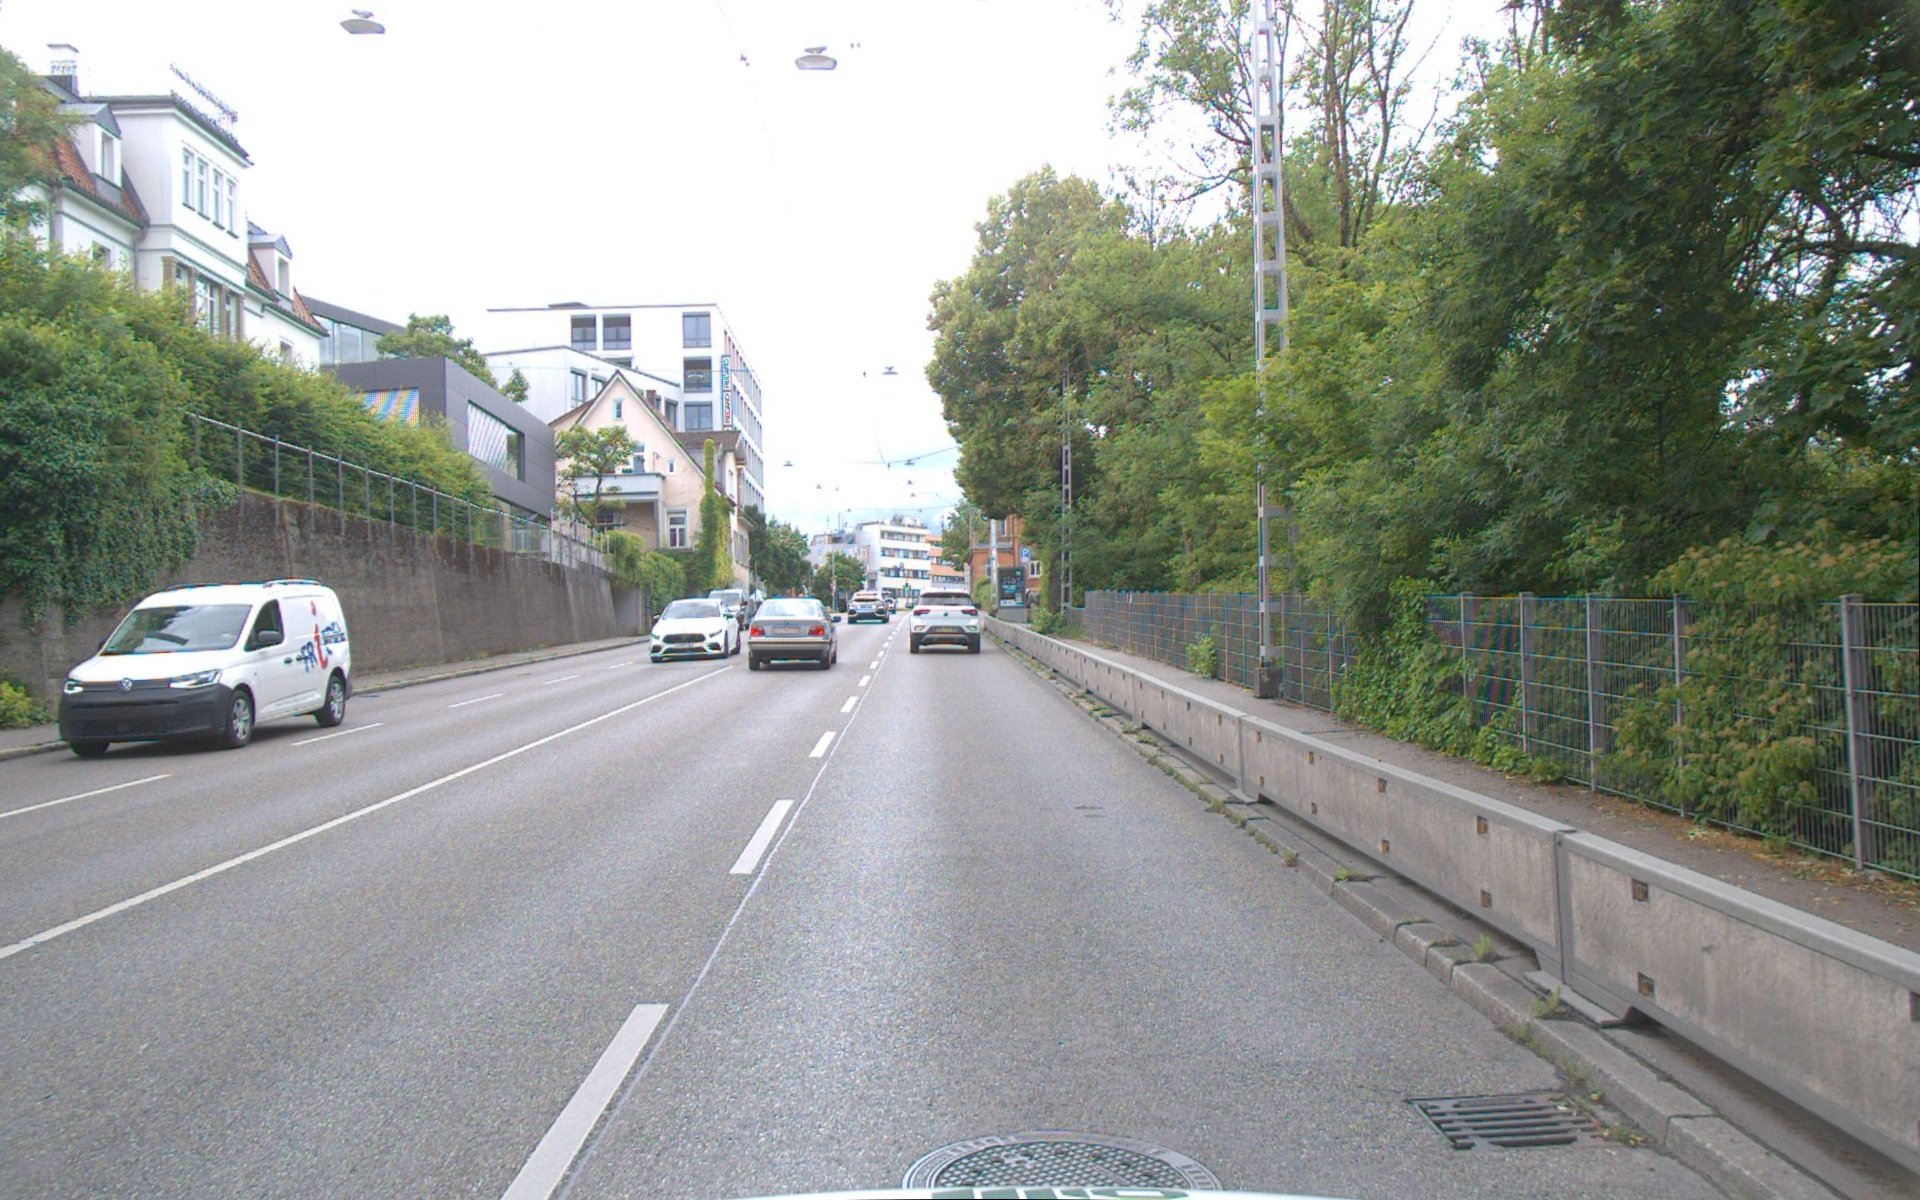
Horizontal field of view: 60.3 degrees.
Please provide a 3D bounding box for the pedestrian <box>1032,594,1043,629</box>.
[{"bbox_3d":[3.954,0.573,84.465,0.499,1.747,0.465,-1,0,-3],"label":"pedestrian"}]

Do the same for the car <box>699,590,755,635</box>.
[{"bbox_3d":[-10.007,0.512,71.299,1.780,1.815,4.494,-2,0,-1],"label":"car"}]

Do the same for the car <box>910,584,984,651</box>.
[{"bbox_3d":[-0.380,0.417,41.825,1.744,1.606,3.998,0,0,-2],"label":"car"}]

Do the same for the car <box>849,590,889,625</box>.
[{"bbox_3d":[-4.143,0.321,75.952,1.672,1.489,3.999,-1,0,-1],"label":"car"}]

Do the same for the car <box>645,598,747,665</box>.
[{"bbox_3d":[-6.324,0.706,40.056,1.779,1.410,4.461,-3,0,-1],"label":"car"}]

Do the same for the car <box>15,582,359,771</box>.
[{"bbox_3d":[-8.661,0.752,19.073,1.698,1.819,4.866,-3,0,-1],"label":"car"}]

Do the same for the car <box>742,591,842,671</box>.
[{"bbox_3d":[-3.333,0.578,33.484,1.672,1.489,3.999,-1,0,-1],"label":"car"}]

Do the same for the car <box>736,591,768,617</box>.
[{"bbox_3d":[-14.081,0.260,112.141,1.955,1.731,3.996,-2,0,-5],"label":"car"}]

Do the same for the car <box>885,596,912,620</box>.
[{"bbox_3d":[-3.966,0.506,106.922,1.672,1.489,3.999,-1,0,-1],"label":"car"}]
